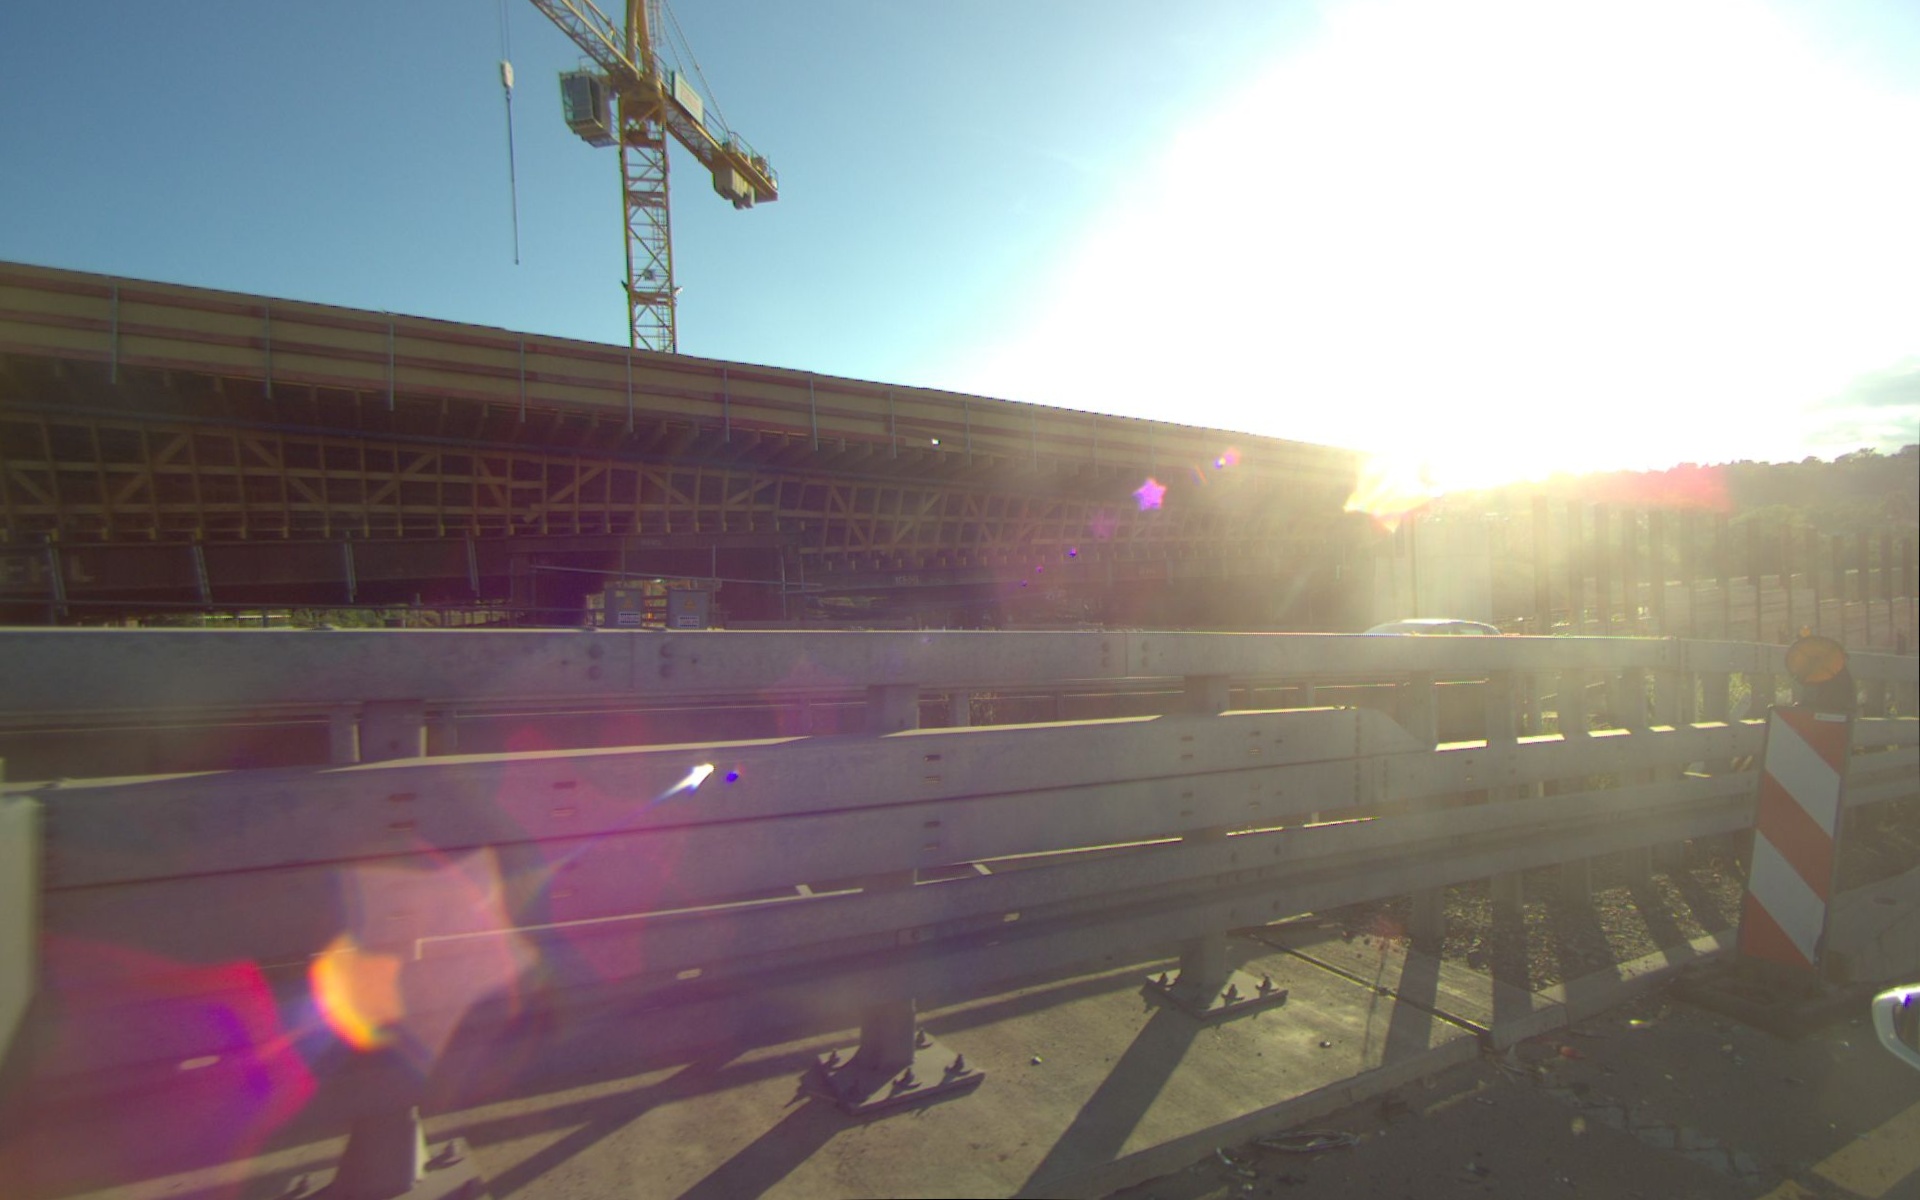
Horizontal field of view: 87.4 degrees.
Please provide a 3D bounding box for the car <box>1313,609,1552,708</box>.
[{"bbox_3d":[8.180,0.976,17.343,3.951,1.409,1.653,2,4,-29],"label":"car"}]

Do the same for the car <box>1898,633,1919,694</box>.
[{"bbox_3d":[27.796,1.764,27.154,4.592,1.622,1.727,2,0,-22],"label":"car"}]
